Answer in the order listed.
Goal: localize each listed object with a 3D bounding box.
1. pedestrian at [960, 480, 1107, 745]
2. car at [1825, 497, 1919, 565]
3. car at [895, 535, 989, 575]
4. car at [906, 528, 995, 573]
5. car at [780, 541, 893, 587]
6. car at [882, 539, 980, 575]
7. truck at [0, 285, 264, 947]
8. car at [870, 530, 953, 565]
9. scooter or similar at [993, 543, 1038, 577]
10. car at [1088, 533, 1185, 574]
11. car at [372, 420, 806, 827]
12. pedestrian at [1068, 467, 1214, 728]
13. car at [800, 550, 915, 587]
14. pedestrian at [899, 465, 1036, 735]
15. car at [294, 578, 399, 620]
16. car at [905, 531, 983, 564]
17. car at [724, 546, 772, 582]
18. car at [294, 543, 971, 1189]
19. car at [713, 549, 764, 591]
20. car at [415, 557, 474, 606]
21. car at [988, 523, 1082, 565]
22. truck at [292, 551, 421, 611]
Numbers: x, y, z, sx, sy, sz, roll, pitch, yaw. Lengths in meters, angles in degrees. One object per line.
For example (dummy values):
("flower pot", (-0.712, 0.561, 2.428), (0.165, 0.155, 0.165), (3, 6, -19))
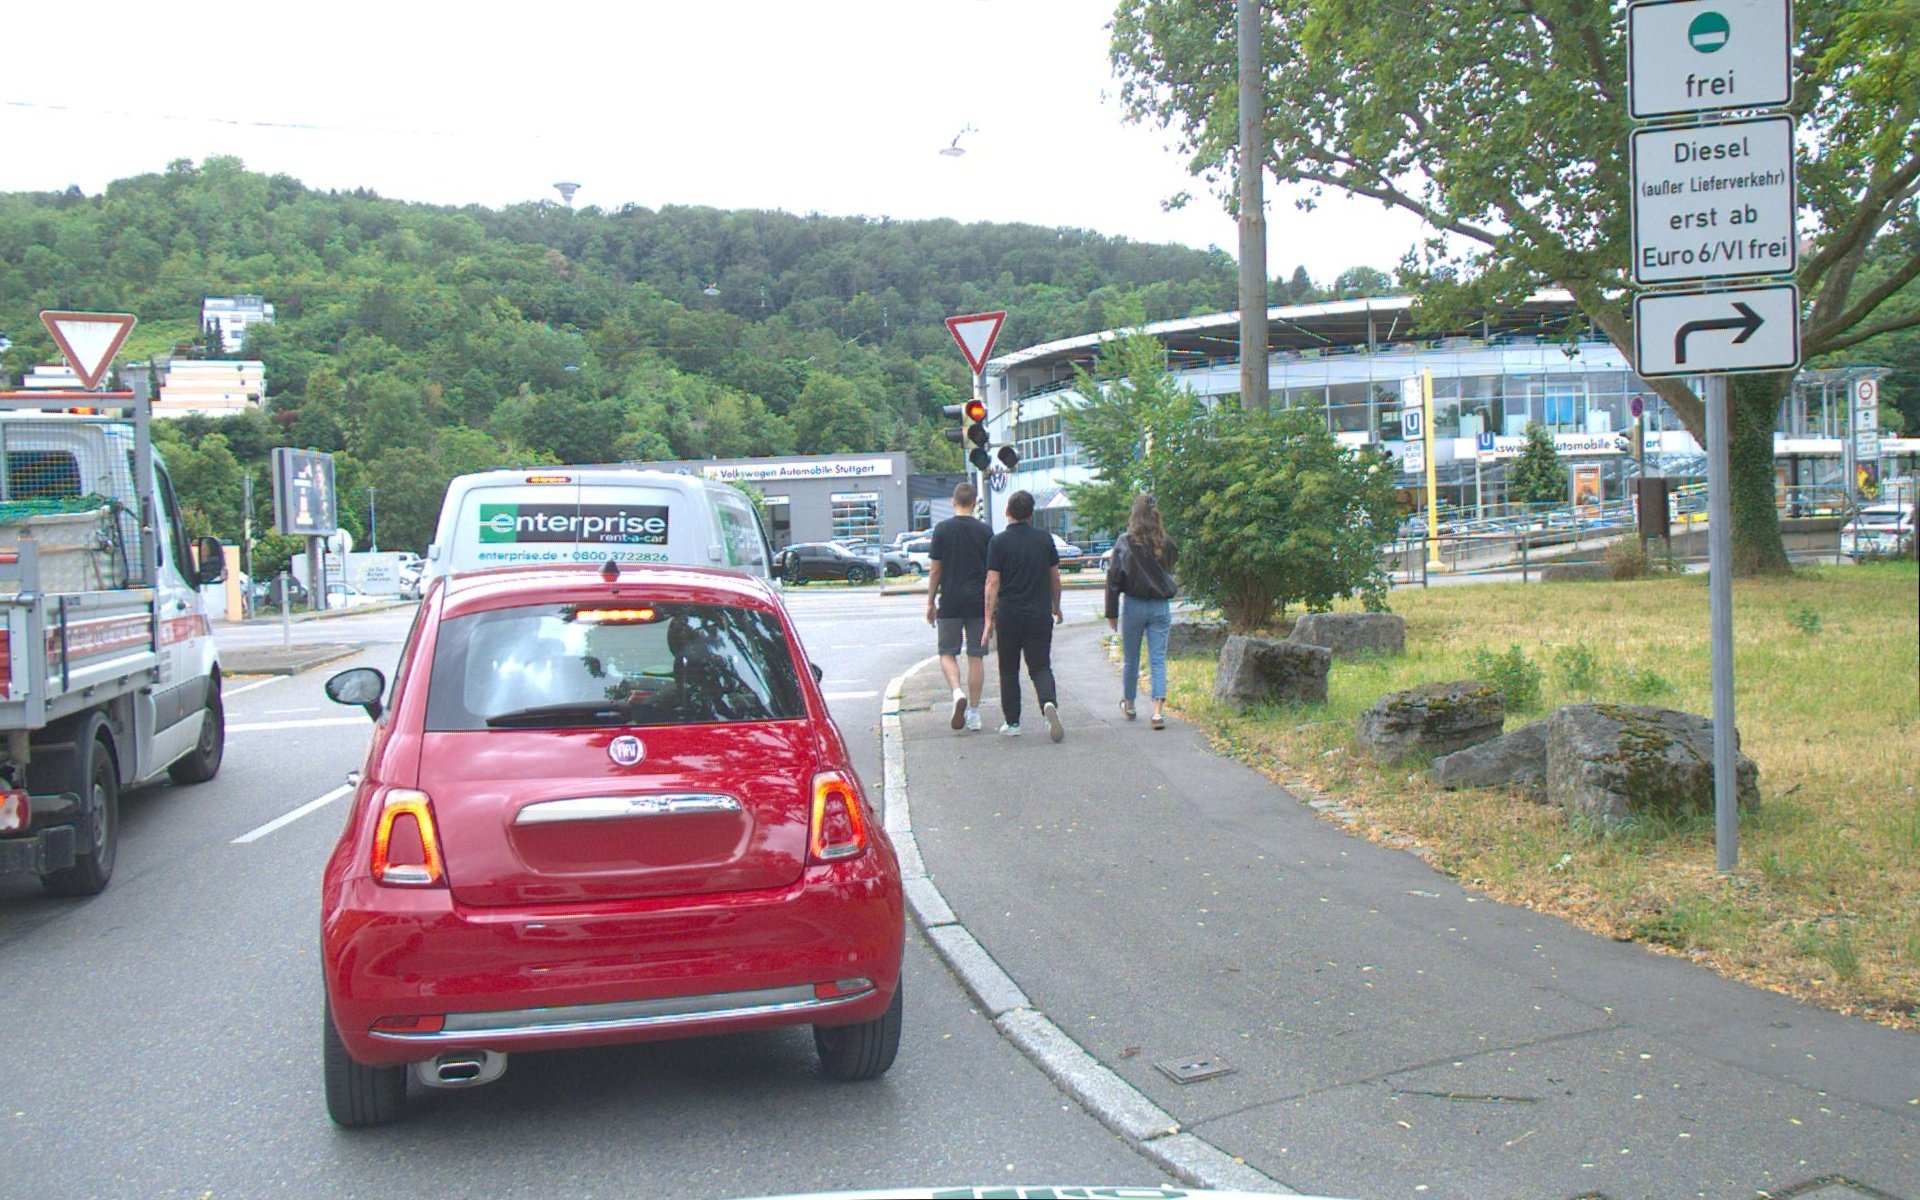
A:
("pedestrian", (0.501, 0.069, 11.482), (0.684, 1.744, 0.783), (-3, 2, -22))
("car", (23.556, -1.743, 40.388), (4.821, 1.533, 1.790), (-4, 3, -26))
("car", (-0.918, -2.311, 85.059), (4.699, 1.834, 1.775), (-2, 2, -1))
("car", (-0.508, -2.681, 89.618), (4.699, 2.194, 2.233), (-2, 2, -1))
("car", (-4.568, -1.360, 61.518), (3.786, 1.526, 1.777), (-2, 2, 13))
("car", (-1.427, -2.139, 81.472), (4.699, 1.559, 1.775), (-2, 2, -1))
("truck", (-5.357, 0.067, 8.672), (2.384, 2.439, 6.001), (-3, 2, -17))
("car", (-2.822, -3.053, 96.544), (4.699, 1.834, 1.775), (-2, 2, -1))
("scooter or similar", (2.124, -1.520, 63.002), (1.633, 1.198, 0.468), (-2, 2, 3))
("car", (7.211, -1.888, 67.840), (1.755, 1.526, 3.974), (-4, 2, -34))
("car", (-2.258, 0.053, 11.494), (1.949, 2.143, 4.761), (-3, 2, -2))
("pedestrian", (1.285, -0.032, 11.809), (0.684, 1.770, 0.783), (-3, 2, -22))
("car", (-4.357, -1.344, 70.841), (4.572, 1.351, 1.778), (-2, 2, 10))
("pedestrian", (0.048, -0.011, 12.171), (0.684, 1.889, 0.783), (-3, 2, -22))
("car", (-26.490, -0.064, 71.572), (4.140, 1.559, 1.766), (-3, 2, -19))
("car", (-0.971, -3.221, 101.437), (4.699, 1.834, 1.775), (-2, 2, -1))
("car", (-10.043, -1.736, 78.515), (1.734, 1.559, 4.090), (-2, 2, -1))
("car", (-1.191, 0.587, 5.757), (1.611, 1.482, 3.418), (-2, 2, -15))
("car", (-10.479, -1.457, 78.583), (1.954, 1.847, 3.999), (-2, 2, -2))
("car", (-20.979, -0.794, 67.394), (1.827, 1.849, 4.389), (-3, 2, -12))
("car", (2.980, -2.250, 66.326), (1.757, 1.526, 3.831), (-4, 2, -36))
("truck", (-27.189, -0.871, 74.595), (5.134, 2.434, 1.978), (-4, 2, -32))
